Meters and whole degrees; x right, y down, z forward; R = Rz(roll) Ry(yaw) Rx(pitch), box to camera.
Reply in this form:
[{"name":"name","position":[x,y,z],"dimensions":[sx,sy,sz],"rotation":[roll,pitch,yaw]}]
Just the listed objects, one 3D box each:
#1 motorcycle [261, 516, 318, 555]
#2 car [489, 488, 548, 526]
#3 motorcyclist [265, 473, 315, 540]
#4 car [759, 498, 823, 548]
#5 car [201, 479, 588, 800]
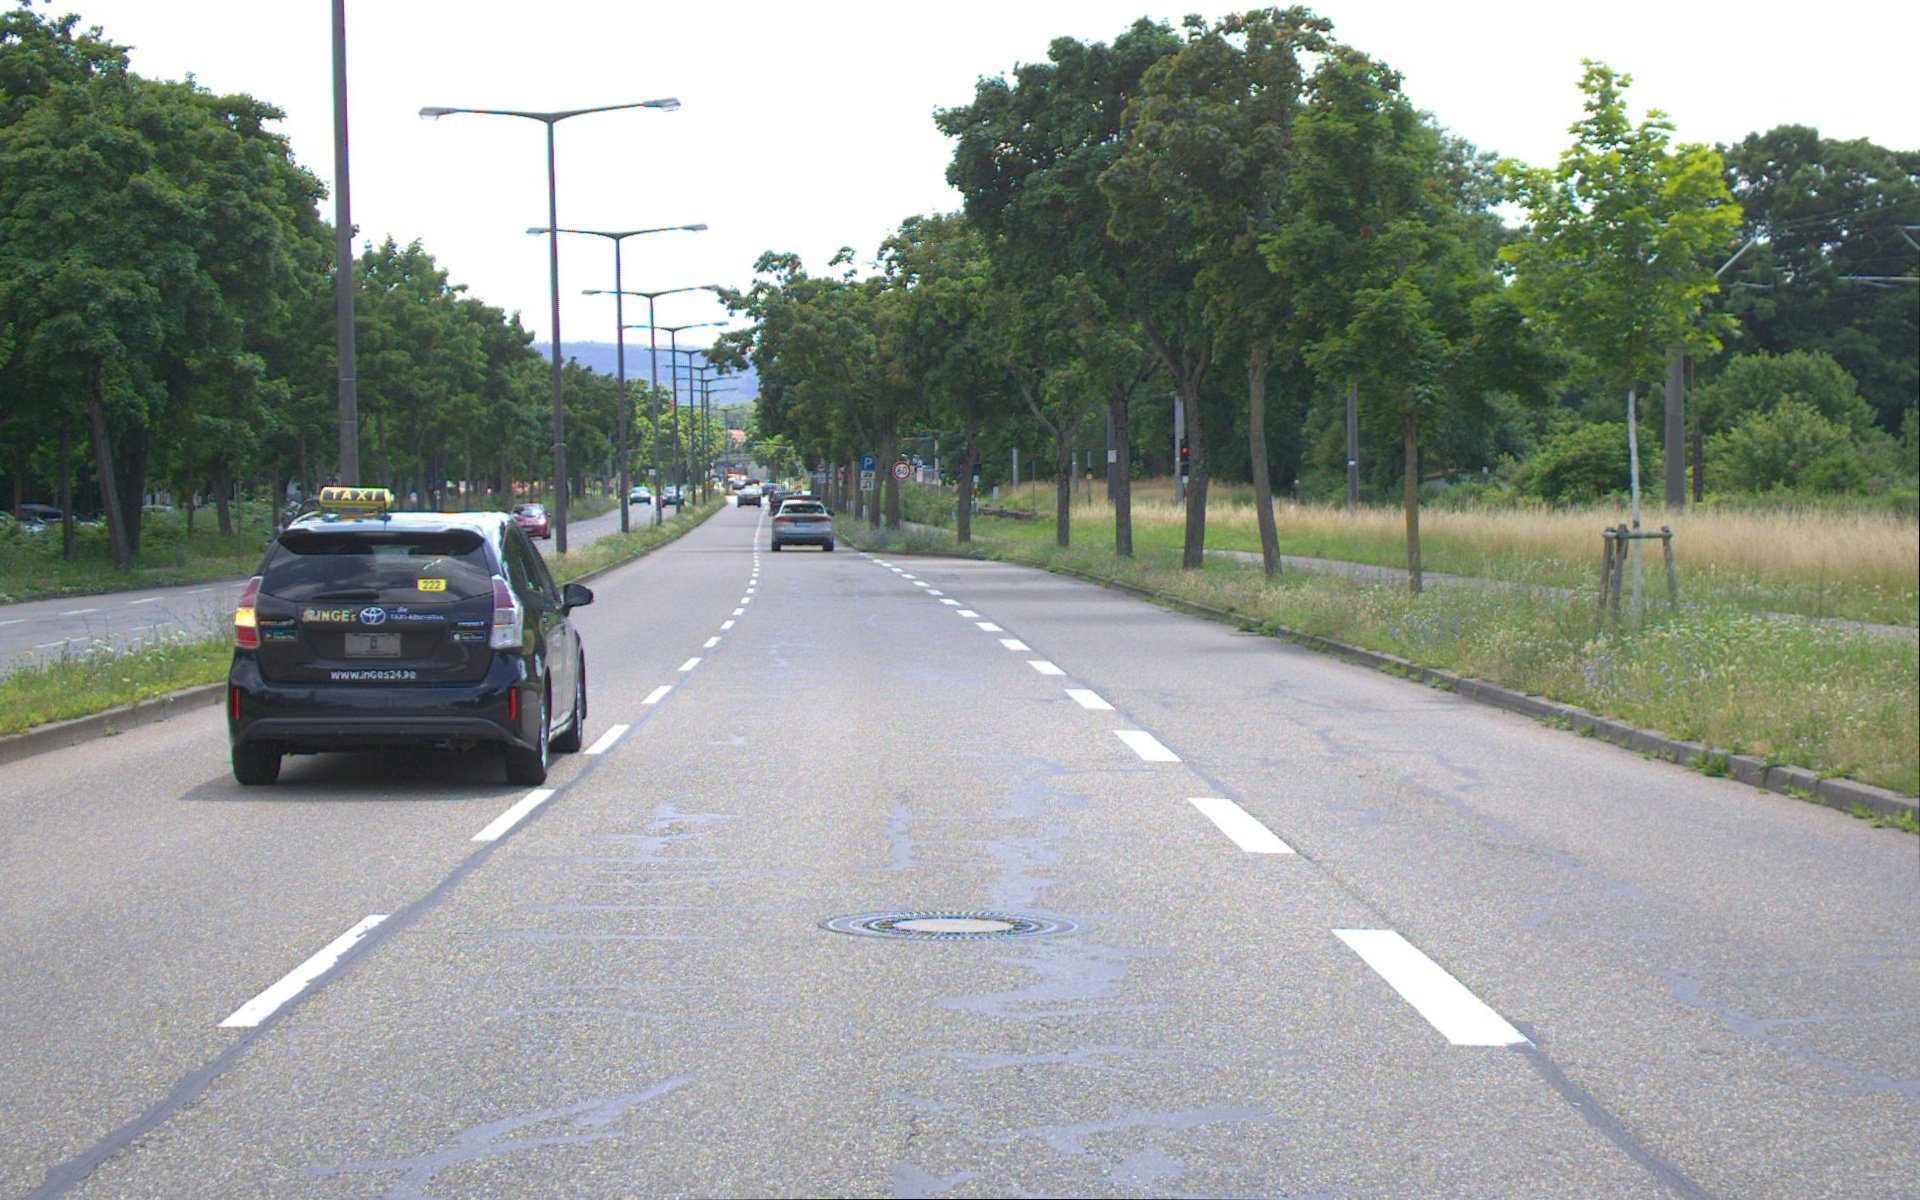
[{"name":"motorcycle","position":[-14.288,-1.383,73.314],"dimensions":[0.751,0.769,2.672],"rotation":[0,3,-2]},{"name":"car","position":[-18.191,-3.847,141.868],"dimensions":[1.879,1.502,3.798],"rotation":[1,3,1]},{"name":"motorcyclist","position":[-14.271,-1.997,73.247],"dimensions":[0.827,1.409,1.329],"rotation":[0,3,-2]},{"name":"car","position":[-5.499,-2.518,111.635],"dimensions":[1.993,1.502,4.001],"rotation":[0,3,-4]},{"name":"car","position":[-3.275,0.147,20.605],"dimensions":[1.779,1.678,4.001],"rotation":[0,3,-2]}]
